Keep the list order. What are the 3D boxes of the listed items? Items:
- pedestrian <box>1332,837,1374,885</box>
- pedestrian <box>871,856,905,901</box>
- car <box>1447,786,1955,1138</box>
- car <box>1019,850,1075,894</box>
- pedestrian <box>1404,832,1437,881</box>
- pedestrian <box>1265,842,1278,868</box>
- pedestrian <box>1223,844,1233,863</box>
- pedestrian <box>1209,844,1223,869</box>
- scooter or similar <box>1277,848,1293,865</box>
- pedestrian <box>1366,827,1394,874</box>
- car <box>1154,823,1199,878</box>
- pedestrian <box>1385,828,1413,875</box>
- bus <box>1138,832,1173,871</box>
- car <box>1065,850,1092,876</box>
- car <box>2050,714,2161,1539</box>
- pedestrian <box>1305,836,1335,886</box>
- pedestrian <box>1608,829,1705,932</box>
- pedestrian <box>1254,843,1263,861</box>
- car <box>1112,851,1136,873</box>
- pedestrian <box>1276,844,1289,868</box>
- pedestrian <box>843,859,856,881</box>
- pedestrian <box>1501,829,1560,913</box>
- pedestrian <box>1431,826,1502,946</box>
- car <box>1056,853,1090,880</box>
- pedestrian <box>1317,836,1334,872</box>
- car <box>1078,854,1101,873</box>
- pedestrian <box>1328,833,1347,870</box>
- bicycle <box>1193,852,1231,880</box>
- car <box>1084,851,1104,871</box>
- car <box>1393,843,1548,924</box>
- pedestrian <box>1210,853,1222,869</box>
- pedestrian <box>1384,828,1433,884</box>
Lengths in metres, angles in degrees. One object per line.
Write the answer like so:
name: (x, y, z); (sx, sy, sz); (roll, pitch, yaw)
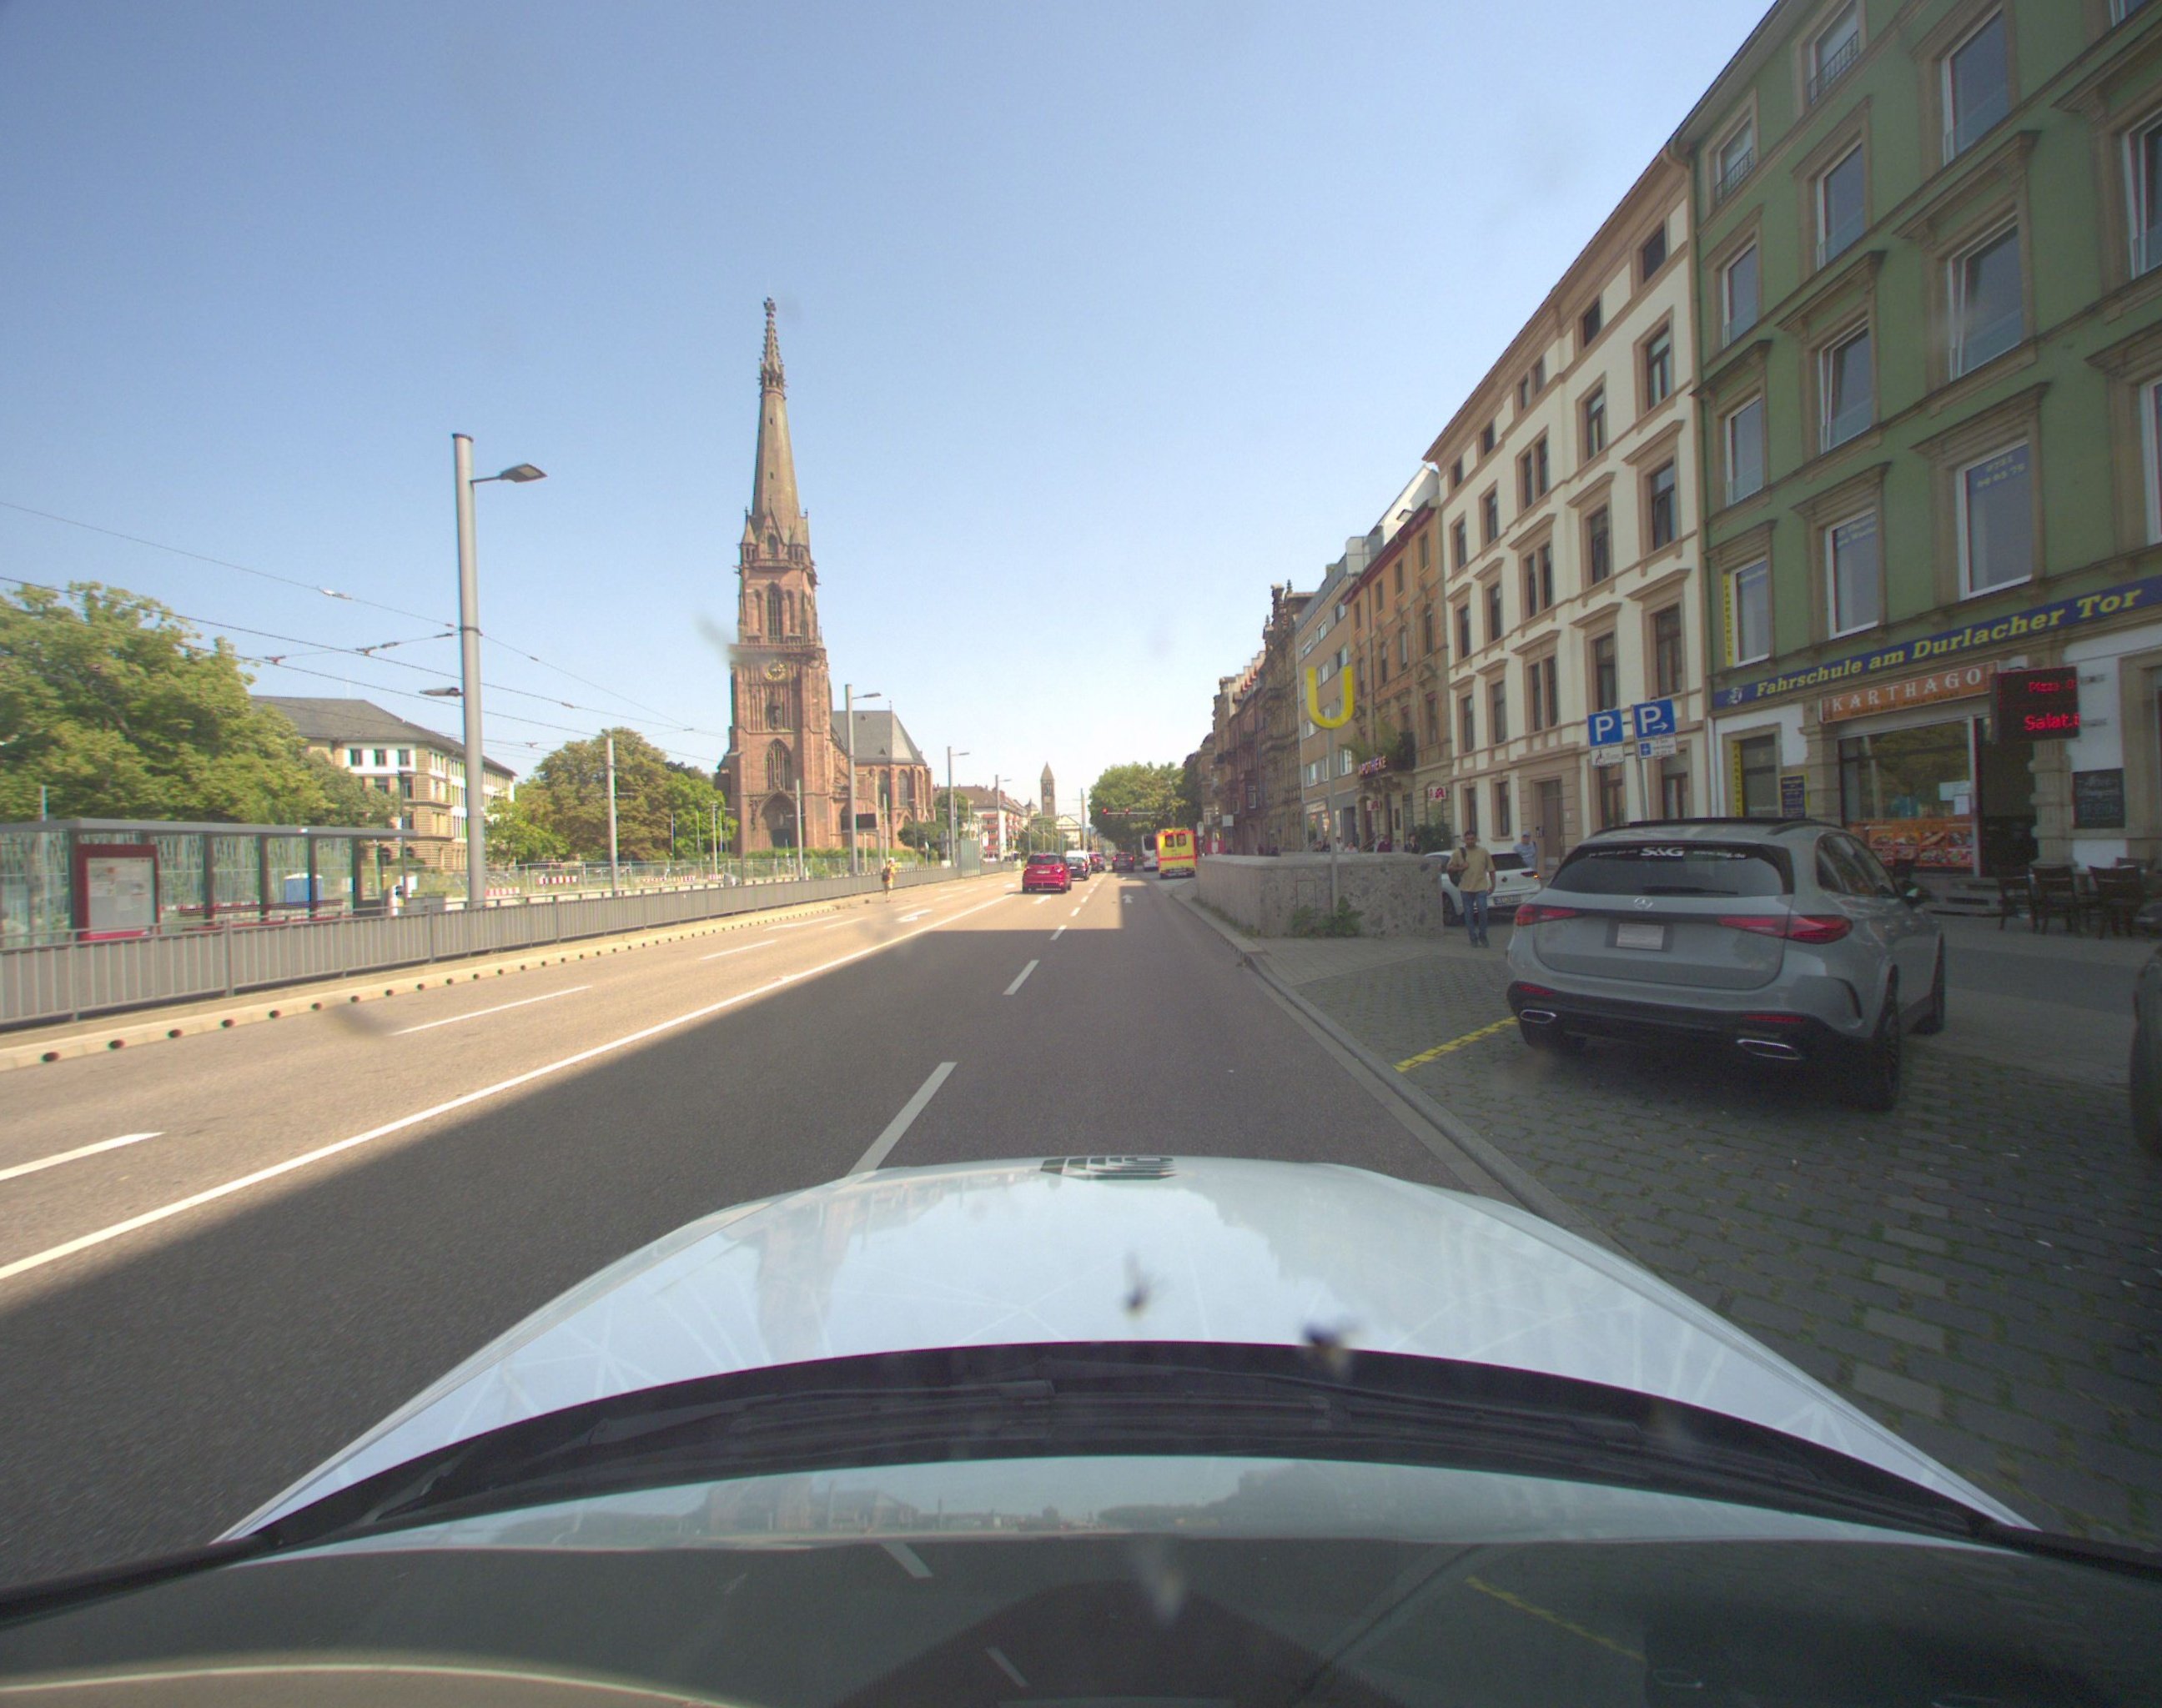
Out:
pedestrian: (9.217, 0.246, 27.605); (0.855, 1.582, 0.961); (-2, -1, -31)
pedestrian: (-7.630, 0.963, 32.213); (0.754, 1.752, 1.074); (-3, -1, 22)
car: (4.968, 0.468, 6.236); (4.689, 1.713, 2.020); (-3, 0, -39)
car: (-1.324, 0.684, 33.679); (1.754, 1.618, 4.088); (-2, 0, 5)
pedestrian: (13.239, 0.096, 31.784); (0.840, 1.846, 0.685); (-4, 0, -7)
pedestrian: (12.211, 0.061, 52.234); (0.641, 1.685, 0.790); (-2, 0, 2)
pedestrian: (13.114, -0.009, 72.636); (0.693, 1.667, 0.603); (-2, 0, 4)
pedestrian: (9.420, 0.170, 56.822); (0.690, 1.667, 0.606); (-2, 0, 28)
scooter or similar: (14.982, 0.175, 59.798); (0.513, 1.196, 1.297); (-2, 0, -16)
pedestrian: (11.691, -0.135, 31.849); (0.681, 1.773, 1.018); (-2, 1, 2)
car: (5.582, -0.207, 47.432); (2.287, 2.888, 5.610); (-3, 0, 7)
pedestrian: (12.437, -0.113, 31.860); (0.681, 1.773, 1.018); (-2, 1, 2)
bus: (6.501, -0.208, 72.355); (2.523, 3.031, 12.445); (-2, 0, 3)
car: (-0.132, 0.663, 58.486); (1.783, 1.780, 4.001); (-2, -1, 2)
car: (4.440, 0.465, 2.387); (4.415, 1.687, 1.963); (-3, 0, -39)
pedestrian: (8.575, 0.237, 29.252); (0.845, 1.728, 0.974); (-3, 2, 9)
pedestrian: (9.327, 0.415, 13.209); (0.855, 1.582, 0.961); (-2, -1, -31)
pedestrian: (16.230, -0.167, 74.380); (0.621, 1.593, 0.695); (-2, 0, -3)
car: (3.567, 0.658, 68.084); (1.783, 1.677, 4.001); (-2, -1, 2)
pedestrian: (12.914, 0.115, 52.210); (0.641, 1.493, 0.790); (-2, 0, 2)
pedestrian: (-19.226, 1.336, 67.575); (0.825, 1.752, 0.721); (-2, -1, 3)
pedestrian: (9.445, 0.349, 17.130); (0.668, 1.685, 0.944); (-3, 0, 3)
pedestrian: (5.940, 0.453, 12.545); (0.857, 1.751, 0.878); (2, 2, 32)
car: (-0.409, 0.677, 47.459); (1.784, 1.431, 4.001); (-2, 0, 1)
pedestrian: (12.370, -0.010, 41.233); (0.575, 1.750, 0.679); (-5, 0, 2)
car: (0.698, 0.800, 66.662); (1.783, 1.472, 4.001); (-2, -1, 2)
pedestrian: (12.992, -0.114, 41.214); (0.597, 1.795, 0.880); (-5, 0, 3)
bicycle: (5.987, 0.550, 37.353); (1.664, 1.215, 0.645); (-2, 0, 8)
car: (1.207, 0.649, 74.360); (1.783, 1.698, 4.001); (-2, -1, 2)
car: (8.001, 0.531, 17.088); (1.624, 1.440, 3.623); (-2, 1, 3)
pedestrian: (16.223, 0.860, 97.834); (1.244, 1.751, 1.527); (-2, 2, 3)
pedestrian: (9.670, 0.066, 24.036); (0.855, 1.582, 0.961); (-2, -1, -31)
